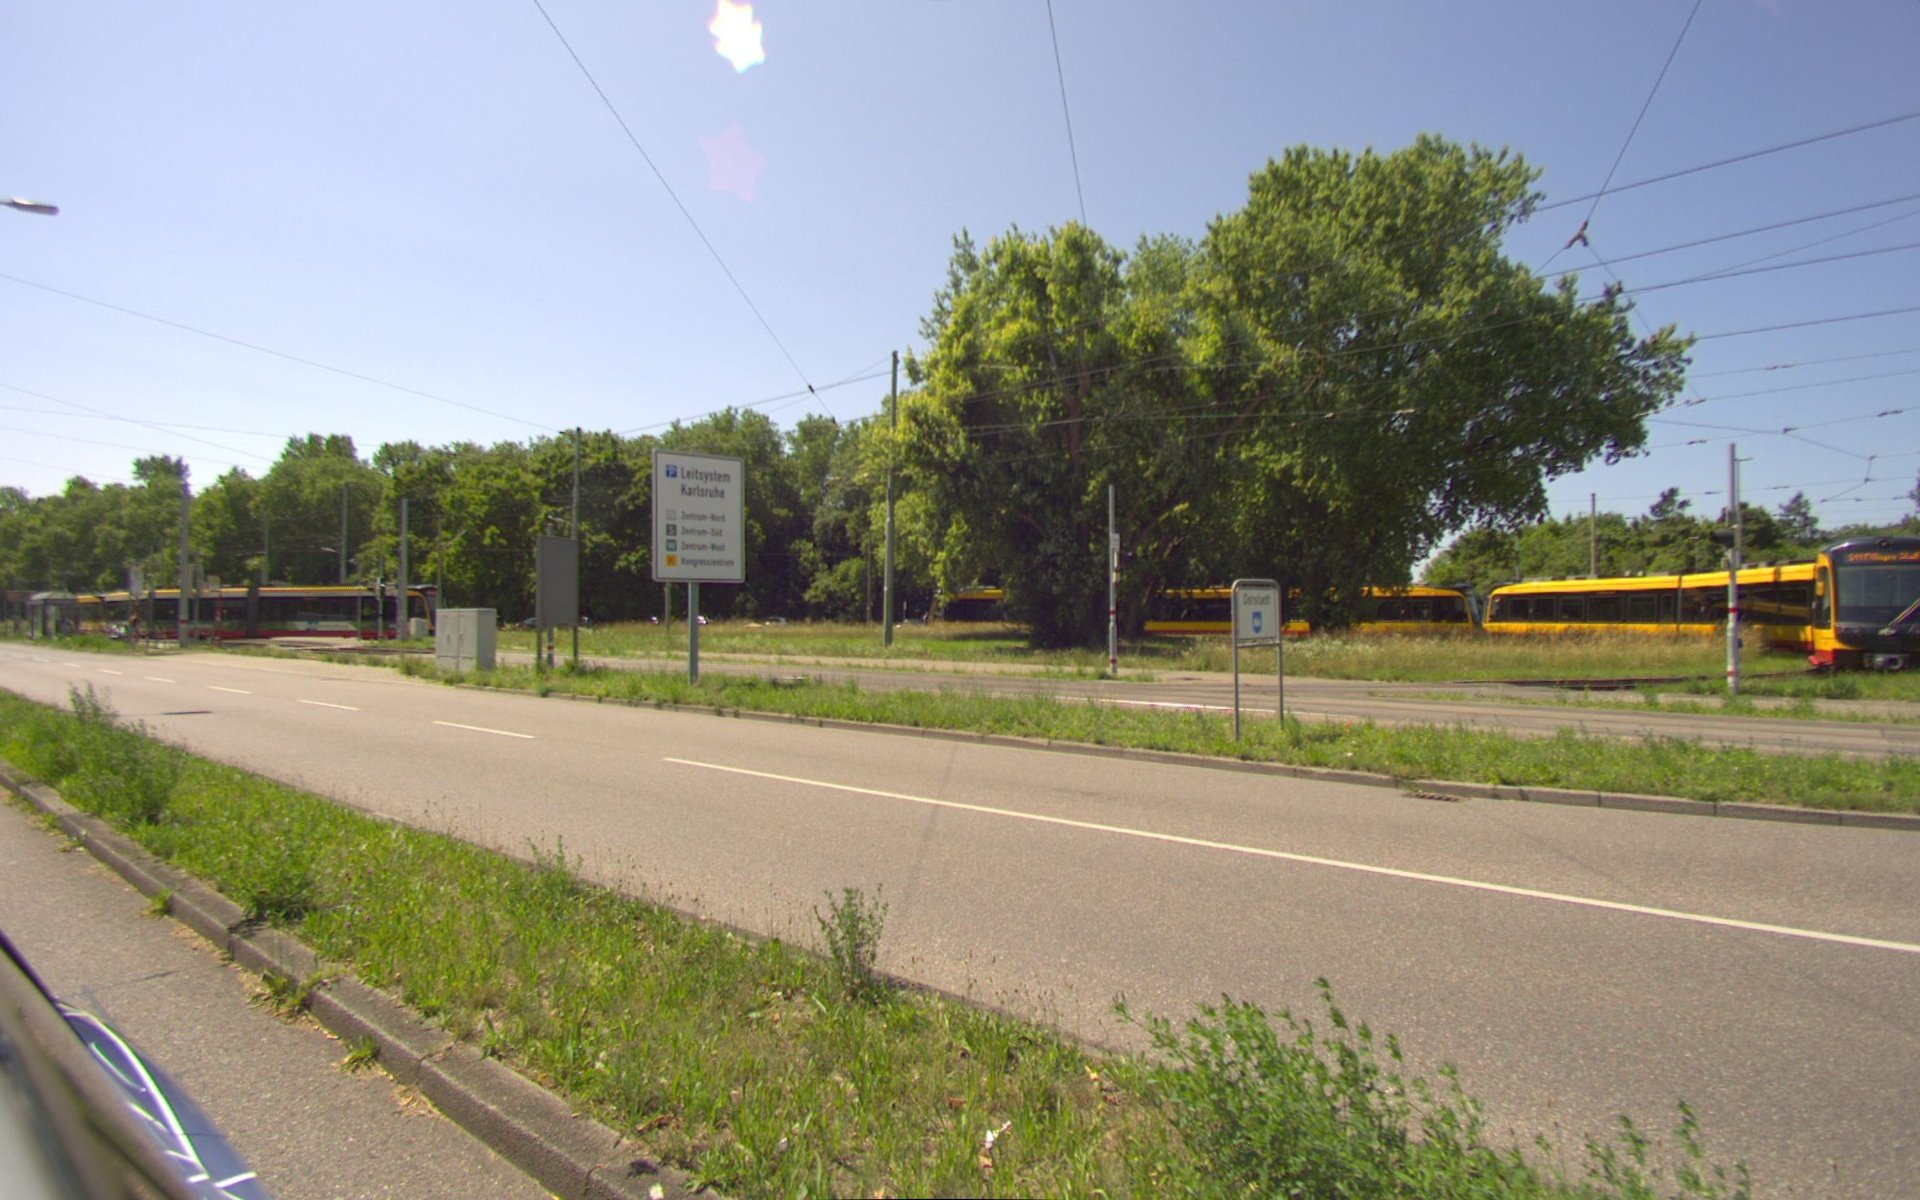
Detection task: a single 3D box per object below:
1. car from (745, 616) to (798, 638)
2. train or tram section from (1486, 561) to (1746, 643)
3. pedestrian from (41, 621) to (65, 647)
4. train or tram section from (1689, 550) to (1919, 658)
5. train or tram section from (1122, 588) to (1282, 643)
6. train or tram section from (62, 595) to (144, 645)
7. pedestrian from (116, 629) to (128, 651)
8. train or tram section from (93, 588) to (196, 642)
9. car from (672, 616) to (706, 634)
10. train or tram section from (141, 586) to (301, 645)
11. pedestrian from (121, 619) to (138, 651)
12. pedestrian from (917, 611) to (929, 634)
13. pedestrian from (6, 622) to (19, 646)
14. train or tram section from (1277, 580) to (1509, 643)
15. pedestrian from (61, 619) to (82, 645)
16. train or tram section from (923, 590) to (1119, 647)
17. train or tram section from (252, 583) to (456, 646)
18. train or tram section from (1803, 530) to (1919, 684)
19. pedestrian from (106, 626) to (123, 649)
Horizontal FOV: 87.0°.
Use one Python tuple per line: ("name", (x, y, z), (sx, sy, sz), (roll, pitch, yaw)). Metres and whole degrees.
("car", (-15.946, 2.254, 85.539), (3.972, 1.741, 1.986), (-1, 0, 22))
("train or tram section", (31.557, 0.101, 49.913), (2.998, 3.492, 12.773), (-1, 0, -8))
("pedestrian", (-55.657, 2.102, 62.109), (0.984, 1.558, 0.922), (-1, 0, 38))
("train or tram section", (31.276, 0.132, 38.050), (3.020, 3.492, 10.167), (-1, 0, 17))
("train or tram section", (16.249, 1.053, 68.181), (10.150, 3.492, 3.025), (-1, 0, 21))
("train or tram section", (-70.045, 1.646, 82.567), (13.252, 3.795, 3.013), (-1, 0, 41))
("pedestrian", (-42.867, 2.047, 51.787), (0.377, 1.066, 0.379), (-1, 0, 38))
("train or tram section", (-59.611, 1.136, 73.774), (13.882, 3.652, 3.014), (-1, 0, 39))
("car", (-25.732, 2.389, 96.063), (3.056, 1.608, 1.376), (-1, 0, 27))
("train or tram section", (-49.262, 1.073, 67.307), (12.379, 3.652, 3.028), (-1, 0, 25))
("pedestrian", (-42.381, 1.784, 51.658), (0.582, 1.577, 0.529), (-1, 0, 39))
("pedestrian", (-2.685, 1.605, 72.871), (0.778, 1.586, 0.692), (-1, 0, -6))
("pedestrian", (-70.184, 2.513, 74.968), (0.775, 1.804, 0.626), (-1, 0, 38))
("train or tram section", (25.960, 0.737, 61.597), (3.001, 3.492, 12.760), (-1, 0, -44))
("pedestrian", (-54.361, 1.943, 61.902), (0.878, 1.519, 0.826), (-1, 0, 38))
("train or tram section", (4.098, 1.246, 69.589), (13.070, 3.492, 3.048), (-1, 0, -3))
("train or tram section", (-38.139, 0.918, 63.684), (12.325, 3.652, 3.041), (-1, 0, 13))
("train or tram section", (25.833, 0.076, 28.178), (3.042, 3.492, 13.123), (-1, 0, 38))
("pedestrian", (-43.637, 1.925, 52.217), (0.536, 1.198, 0.575), (-1, 0, 41))
